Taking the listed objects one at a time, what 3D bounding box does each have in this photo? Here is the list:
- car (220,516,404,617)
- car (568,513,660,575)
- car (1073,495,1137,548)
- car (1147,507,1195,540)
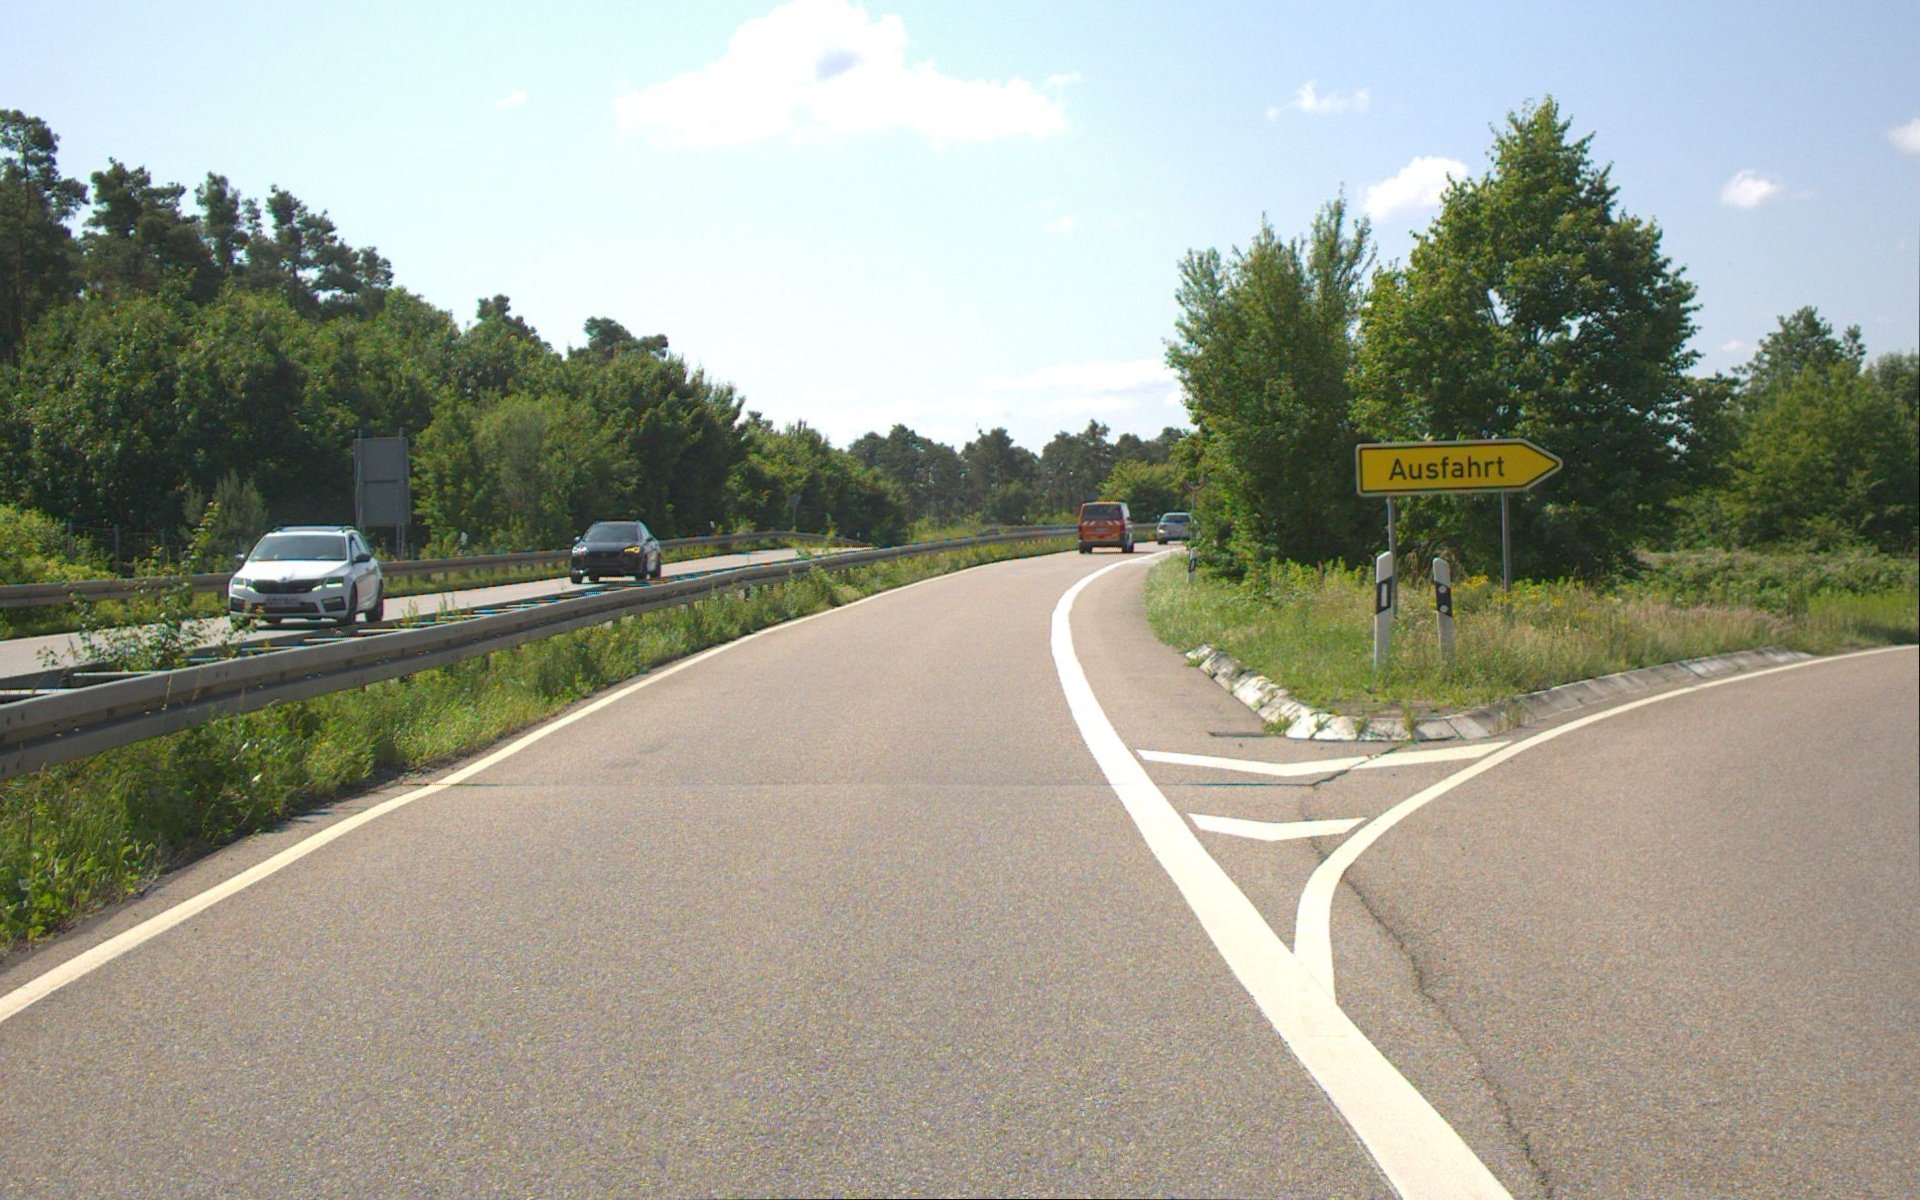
[{"bbox_3d":[-9.645,-0.534,51.485,1.794,1.439,4.607,0,1,1],"label":"car"},{"bbox_3d":[-8.566,-1.418,85.456,1.755,1.495,4.574,0,1,1],"label":"car"},{"bbox_3d":[5.587,-2.994,132.044,2.078,1.986,5.110,0,1,7],"label":"car"},{"bbox_3d":[9.678,-3.490,157.528,2.008,1.488,4.238,0,1,6],"label":"car"}]
